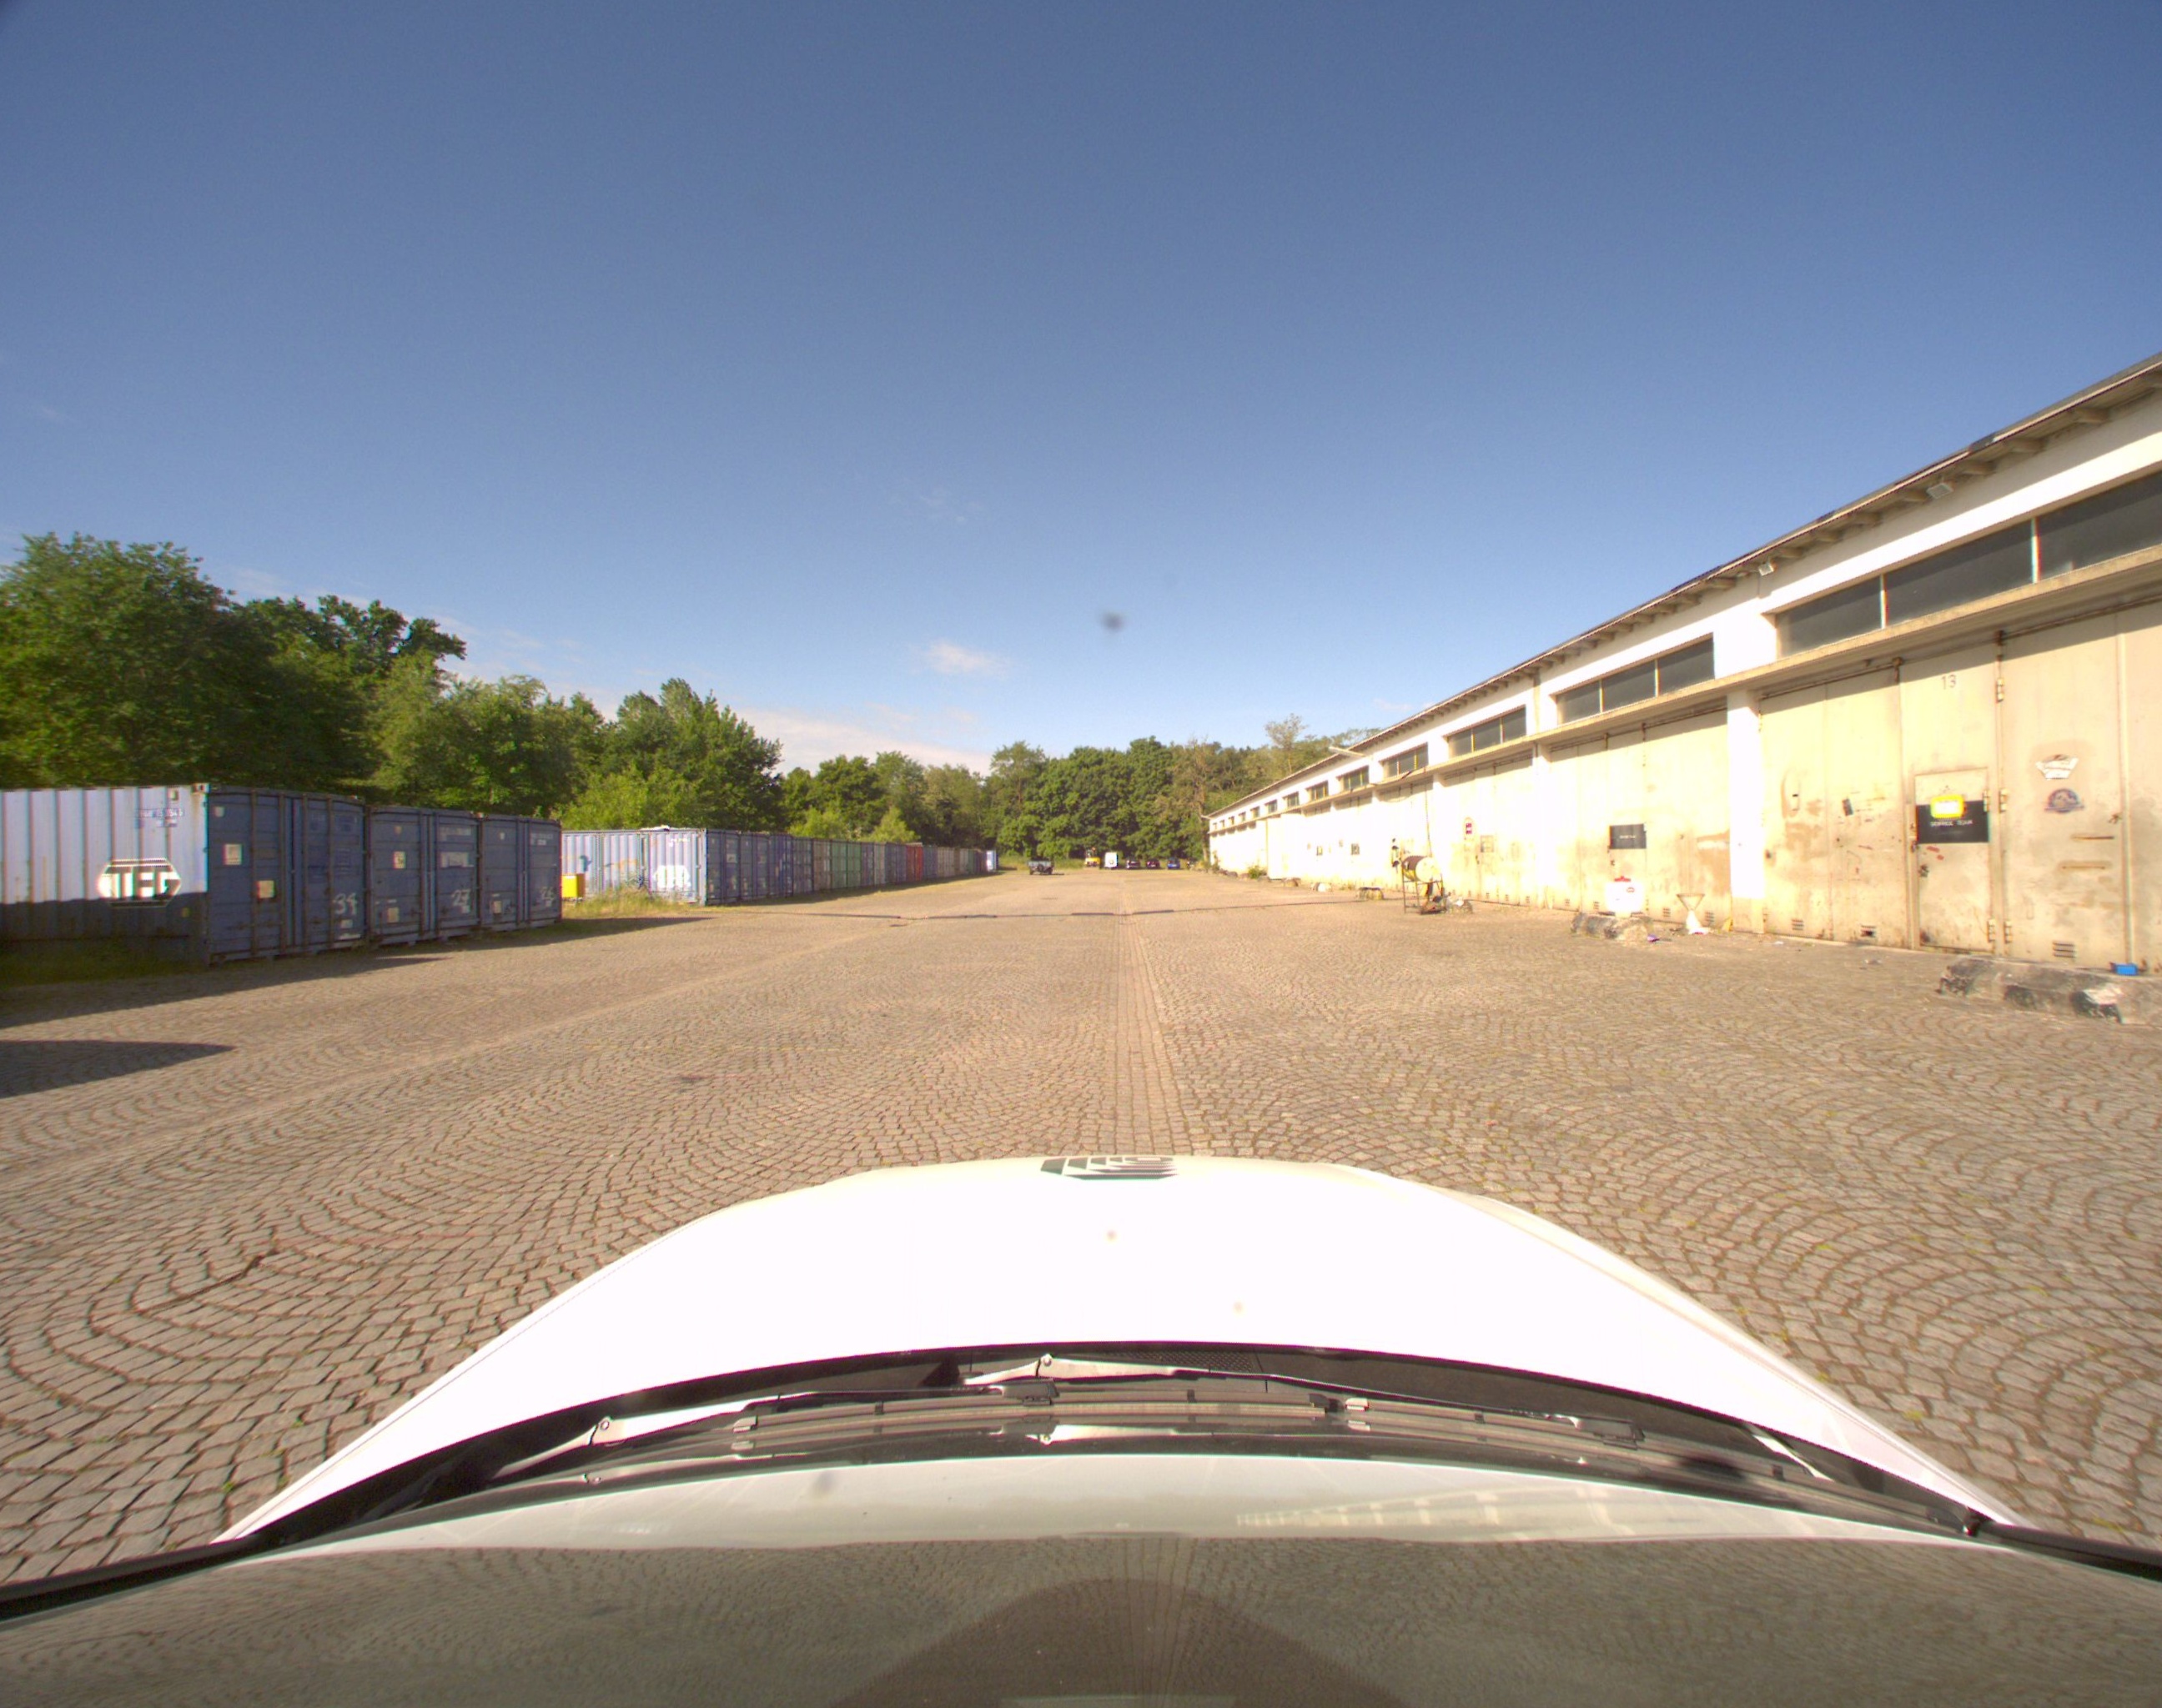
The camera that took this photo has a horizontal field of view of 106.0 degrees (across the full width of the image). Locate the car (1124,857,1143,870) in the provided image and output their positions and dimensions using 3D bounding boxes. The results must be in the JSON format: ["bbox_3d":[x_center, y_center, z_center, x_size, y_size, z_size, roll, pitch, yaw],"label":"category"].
[{"bbox_3d":[6.629,1.185,102.297,1.850,1.585,4.010,-1,0,9],"label":"car"}]

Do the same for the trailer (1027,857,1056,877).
[{"bbox_3d":[-4.098,1.326,85.260,2.396,2.014,4.178,1,0,4],"label":"trailer"}]

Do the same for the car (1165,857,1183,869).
[{"bbox_3d":[11.657,1.120,102.327,1.981,1.420,4.010,-1,0,9],"label":"car"}]

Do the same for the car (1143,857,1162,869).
[{"bbox_3d":[9.008,1.144,102.248,1.981,1.463,4.010,-1,0,9],"label":"car"}]

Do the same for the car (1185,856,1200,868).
[{"bbox_3d":[14.153,1.006,103.481,1.675,1.563,4.010,-1,0,9],"label":"car"}]

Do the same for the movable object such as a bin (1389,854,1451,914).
[{"bbox_3d":[7.786,0.675,18.761,0.821,1.331,1.279,-1,-1,-2],"label":"movable object such as a bin"}]

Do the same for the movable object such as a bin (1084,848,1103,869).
[{"bbox_3d":[1.605,0.590,104.443,1.983,2.618,4.007,1,0,7],"label":"movable object such as a bin"}]

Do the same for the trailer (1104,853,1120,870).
[{"bbox_3d":[3.987,0.939,104.085,1.784,2.090,3.979,-1,-1,7],"label":"trailer"}]
